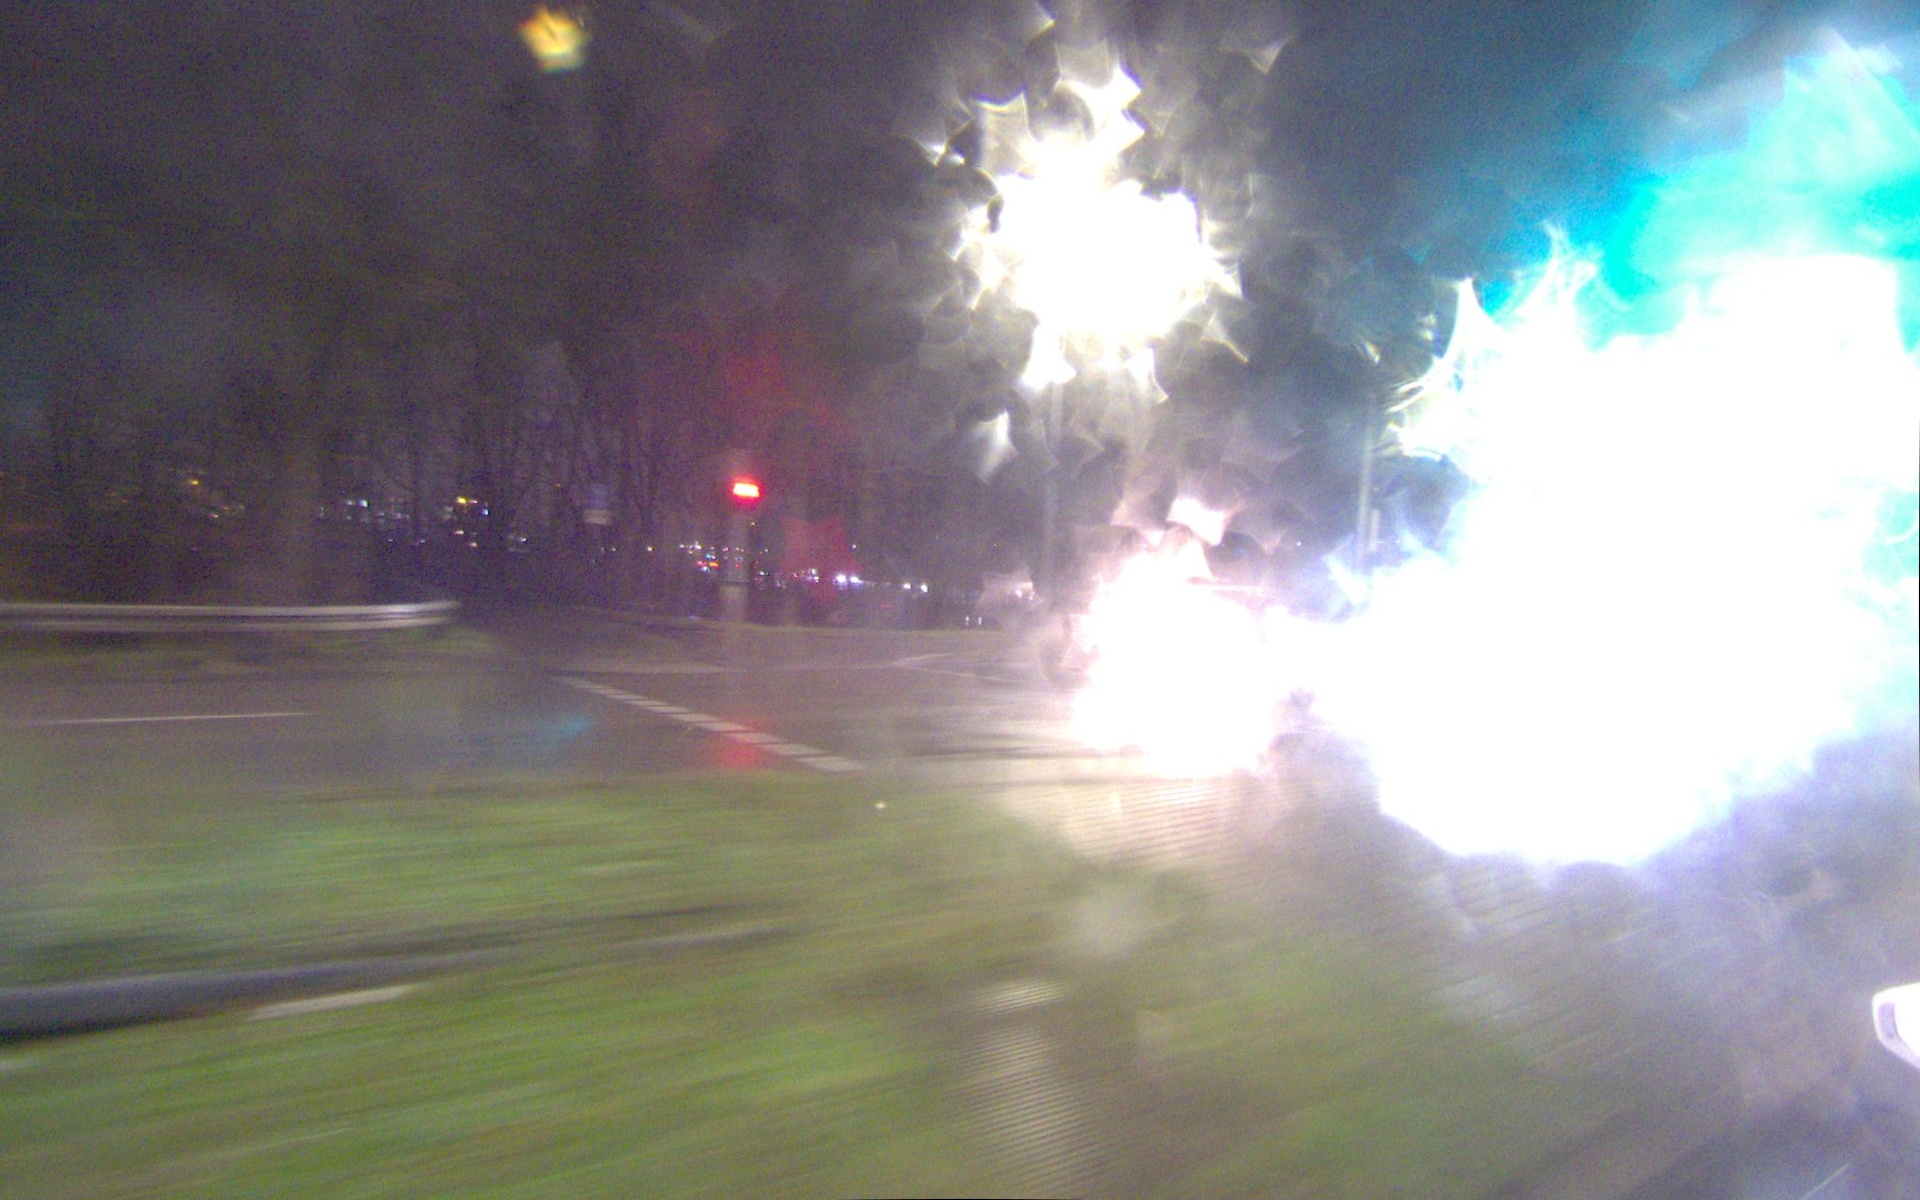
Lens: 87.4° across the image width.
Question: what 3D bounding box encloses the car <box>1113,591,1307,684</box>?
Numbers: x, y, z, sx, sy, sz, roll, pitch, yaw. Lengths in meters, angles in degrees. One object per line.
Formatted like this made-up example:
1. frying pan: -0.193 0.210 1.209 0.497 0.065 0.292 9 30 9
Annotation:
1. car: 4.531 0.619 18.016 3.463 1.452 1.552 1 2 -38

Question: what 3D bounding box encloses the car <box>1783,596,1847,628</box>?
1. car: 48.847 0.680 57.468 1.788 1.639 3.994 5 2 27

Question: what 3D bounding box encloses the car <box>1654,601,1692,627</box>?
1. car: 45.445 0.886 64.040 1.799 1.468 4.644 5 2 35

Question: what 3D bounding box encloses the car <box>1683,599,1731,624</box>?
1. car: 60.470 0.933 81.362 2.056 1.665 3.728 7 4 22

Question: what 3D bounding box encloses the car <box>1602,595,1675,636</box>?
1. car: 25.906 0.552 38.273 1.786 1.371 4.122 4 3 41

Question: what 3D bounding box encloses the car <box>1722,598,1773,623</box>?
1. car: 55.958 0.727 71.423 1.787 1.639 3.997 4 2 24

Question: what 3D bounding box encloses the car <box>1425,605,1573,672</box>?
1. car: 13.855 0.936 25.701 4.440 1.480 1.765 1 2 -40
